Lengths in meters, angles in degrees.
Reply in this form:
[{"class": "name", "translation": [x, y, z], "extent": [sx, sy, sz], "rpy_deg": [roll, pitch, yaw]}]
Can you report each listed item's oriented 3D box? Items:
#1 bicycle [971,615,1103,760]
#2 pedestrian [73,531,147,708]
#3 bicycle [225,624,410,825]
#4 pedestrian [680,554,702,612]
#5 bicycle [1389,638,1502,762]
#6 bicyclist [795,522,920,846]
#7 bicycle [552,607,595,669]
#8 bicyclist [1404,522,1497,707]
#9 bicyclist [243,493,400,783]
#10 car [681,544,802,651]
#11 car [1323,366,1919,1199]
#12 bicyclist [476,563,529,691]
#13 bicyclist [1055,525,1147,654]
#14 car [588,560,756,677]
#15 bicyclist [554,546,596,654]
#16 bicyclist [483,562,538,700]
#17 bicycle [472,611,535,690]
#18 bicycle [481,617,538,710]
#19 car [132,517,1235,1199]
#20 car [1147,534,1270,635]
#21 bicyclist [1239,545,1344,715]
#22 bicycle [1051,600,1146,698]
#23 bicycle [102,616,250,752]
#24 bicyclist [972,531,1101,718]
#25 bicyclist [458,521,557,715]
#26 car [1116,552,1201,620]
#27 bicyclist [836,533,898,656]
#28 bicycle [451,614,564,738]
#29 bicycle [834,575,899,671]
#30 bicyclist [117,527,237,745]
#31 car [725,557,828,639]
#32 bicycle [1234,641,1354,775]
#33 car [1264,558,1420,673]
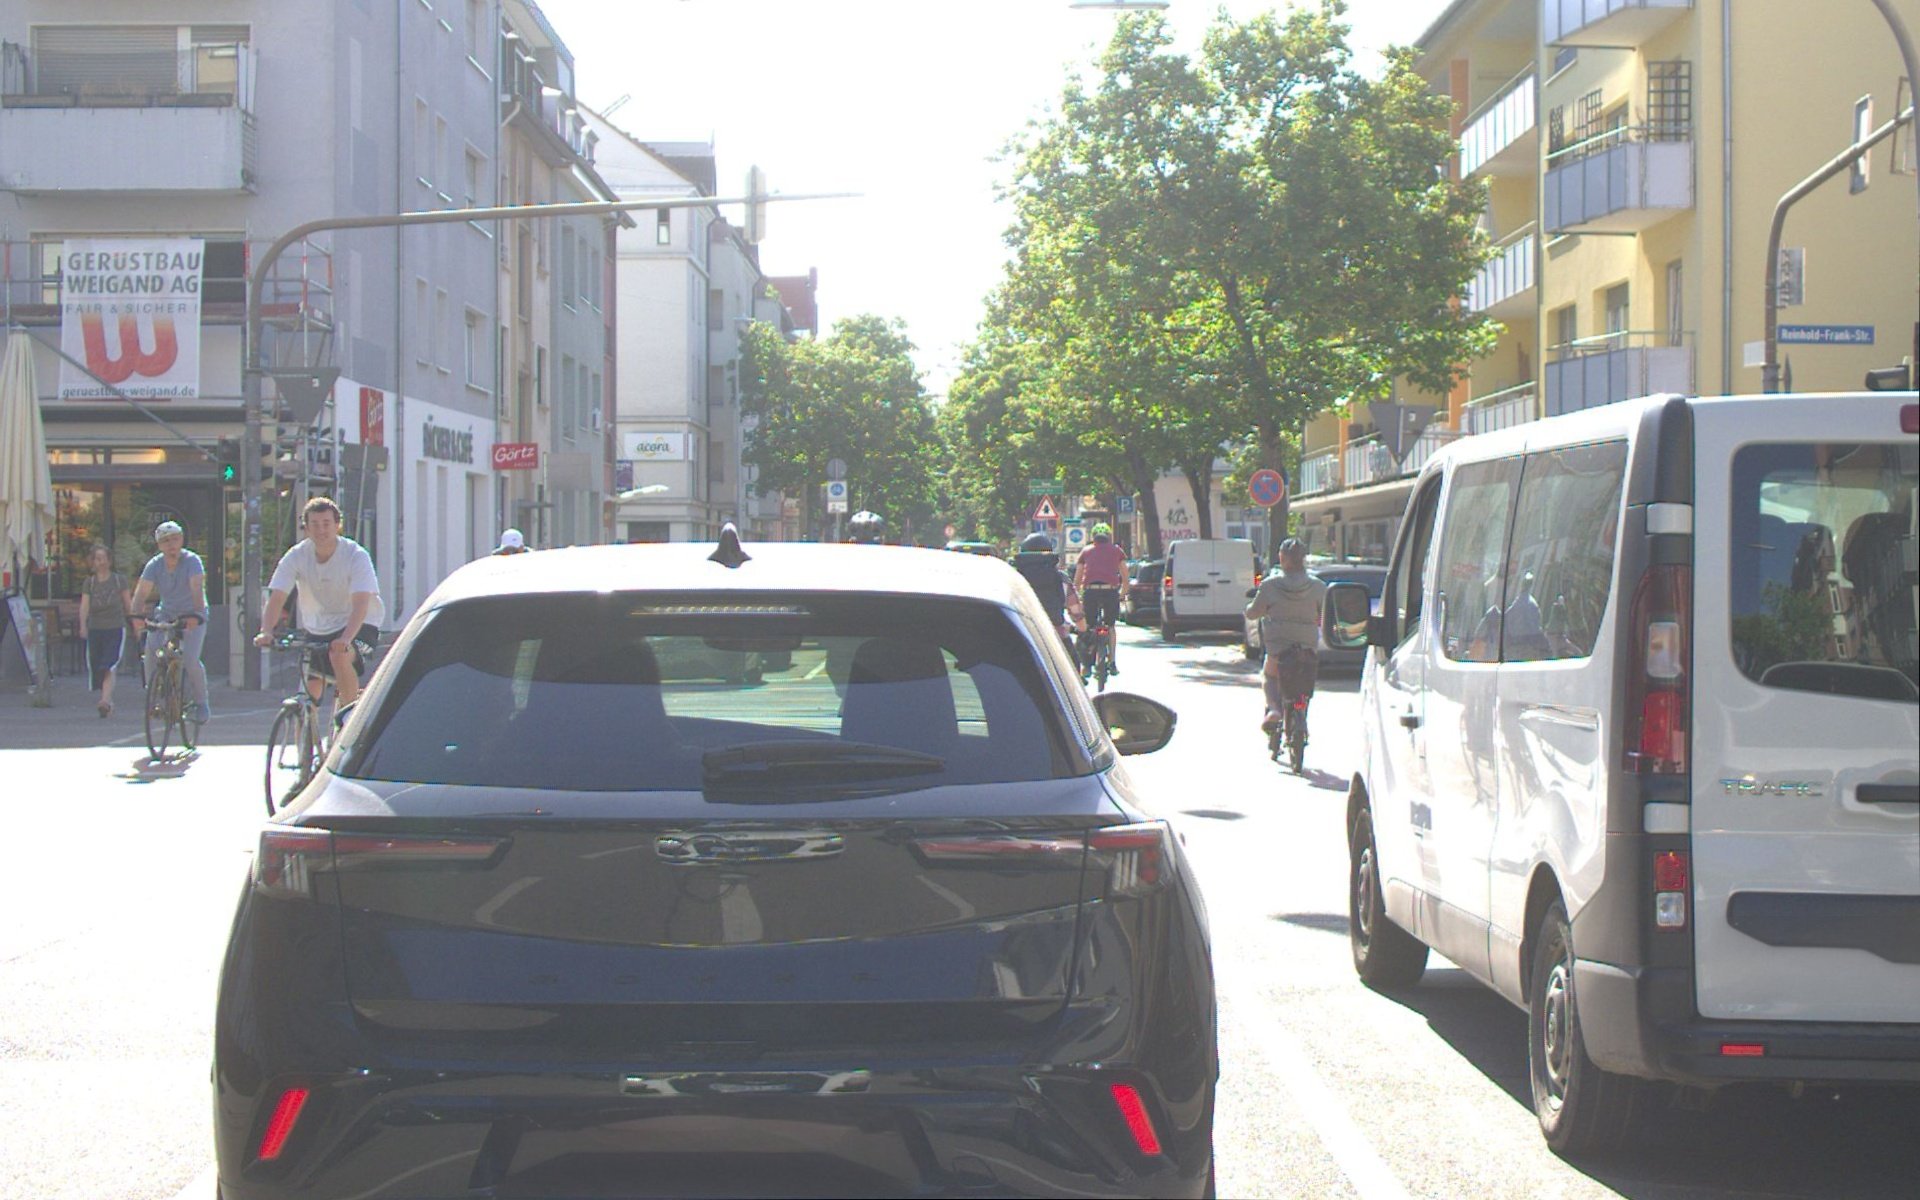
[{"class": "bicycle", "translation": [0.544, 0.619, 25.301], "extent": [0.856, 0.942, 2.307], "rpy_deg": [2, 1, -1]}, {"class": "pedestrian", "translation": [-7.664, 0.171, 31.009], "extent": [0.531, 1.576, 0.563], "rpy_deg": [0, 1, -1]}, {"class": "bicycle", "translation": [-3.655, 0.687, 19.701], "extent": [0.716, 1.060, 1.872], "rpy_deg": [0, 0, -1]}, {"class": "pedestrian", "translation": [-7.345, -0.461, 93.907], "extent": [0.577, 1.577, 0.708], "rpy_deg": [0, 1, -6]}, {"class": "bicycle", "translation": [3.700, 0.751, 26.303], "extent": [0.620, 0.863, 1.876], "rpy_deg": [0, 1, 1]}, {"class": "bicyclist", "translation": [-0.533, 0.423, 18.231], "extent": [0.632, 1.663, 1.050], "rpy_deg": [0, 1, -1]}, {"class": "bicycle", "translation": [-5.583, 0.536, 49.670], "extent": [0.553, 0.831, 2.132], "rpy_deg": [1, 1, -5]}, {"class": "bicyclist", "translation": [3.720, 0.101, 26.115], "extent": [0.588, 1.378, 0.823], "rpy_deg": [0, 1, 1]}, {"class": "bicyclist", "translation": [-3.653, 0.208, 19.714], "extent": [0.716, 1.614, 0.946], "rpy_deg": [0, 0, -1]}, {"class": "car", "translation": [-3.325, -0.052, 52.825], "extent": [1.592, 1.560, 4.089], "rpy_deg": [-1, 0, 0]}, {"class": "car", "translation": [2.399, 0.437, 10.369], "extent": [1.968, 1.933, 5.056], "rpy_deg": [2, 0, -1]}, {"class": "bicyclist", "translation": [-5.499, 0.317, 41.356], "extent": [0.542, 1.515, 0.774], "rpy_deg": [0, 1, -1]}, {"class": "bicyclist", "translation": [1.489, -0.122, 36.482], "extent": [0.856, 1.310, 1.210], "rpy_deg": [2, 1, -1]}, {"class": "car", "translation": [-3.678, 0.207, 44.503], "extent": [1.837, 1.429, 4.177], "rpy_deg": [0, 1, 0]}, {"class": "bicyclist", "translation": [-5.592, -0.006, 49.942], "extent": [0.553, 1.543, 0.814], "rpy_deg": [1, 1, -5]}, {"class": "bicyclist", "translation": [-4.594, 0.309, 35.159], "extent": [0.542, 1.386, 0.788], "rpy_deg": [0, 1, -6]}, {"class": "bicycle", "translation": [-5.500, 0.601, 41.477], "extent": [0.542, 0.899, 1.826], "rpy_deg": [0, 1, -1]}, {"class": "bicycle", "translation": [-4.612, 0.638, 35.273], "extent": [0.542, 0.899, 1.826], "rpy_deg": [0, 1, -6]}, {"class": "car", "translation": [-0.466, 0.629, 7.503], "extent": [1.762, 1.553, 4.000], "rpy_deg": [0, 0, -1]}, {"class": "car", "translation": [4.661, -0.313, 65.077], "extent": [2.046, 1.840, 4.584], "rpy_deg": [0, 1, 1]}, {"class": "bicyclist", "translation": [2.354, 0.205, 24.430], "extent": [0.692, 1.189, 0.595], "rpy_deg": [0, 1, 1]}, {"class": "bicycle", "translation": [1.460, 0.509, 36.575], "extent": [0.856, 0.942, 2.307], "rpy_deg": [2, 1, -1]}, {"class": "bicycle", "translation": [-5.973, 0.621, 26.269], "extent": [0.679, 0.949, 1.934], "rpy_deg": [-1, 1, 0]}, {"class": "bicyclist", "translation": [0.552, 0.167, 25.268], "extent": [0.856, 1.310, 1.210], "rpy_deg": [2, 1, -1]}, {"class": "bicyclist", "translation": [-3.762, 0.143, 28.632], "extent": [0.679, 1.571, 0.899], "rpy_deg": [-1, 1, 0]}, {"class": "car", "translation": [4.448, -0.334, 77.429], "extent": [1.712, 1.478, 3.381], "rpy_deg": [0, 1, 0]}, {"class": "bicyclist", "translation": [-1.252, -0.081, 46.363], "extent": [0.801, 1.644, 1.125], "rpy_deg": [0, 1, 0]}, {"class": "bicycle", "translation": [-3.760, 0.616, 28.693], "extent": [0.679, 0.949, 1.934], "rpy_deg": [-1, 1, 0]}, {"class": "bicycle", "translation": [-1.253, 0.297, 46.378], "extent": [0.801, 1.251, 2.139], "rpy_deg": [0, 1, 0]}, {"class": "bicyclist", "translation": [-5.978, 0.265, 26.279], "extent": [0.679, 1.625, 0.899], "rpy_deg": [-1, 1, 0]}, {"class": "car", "translation": [-3.376, -0.071, 63.610], "extent": [1.804, 1.408, 4.426], "rpy_deg": [-2, 1, -3]}, {"class": "bicycle", "translation": [2.355, 0.747, 24.405], "extent": [0.691, 0.863, 1.876], "rpy_deg": [0, 1, 1]}, {"class": "car", "translation": [5.121, 0.179, 46.448], "extent": [1.712, 1.478, 3.480], "rpy_deg": [0, 1, 0]}]
